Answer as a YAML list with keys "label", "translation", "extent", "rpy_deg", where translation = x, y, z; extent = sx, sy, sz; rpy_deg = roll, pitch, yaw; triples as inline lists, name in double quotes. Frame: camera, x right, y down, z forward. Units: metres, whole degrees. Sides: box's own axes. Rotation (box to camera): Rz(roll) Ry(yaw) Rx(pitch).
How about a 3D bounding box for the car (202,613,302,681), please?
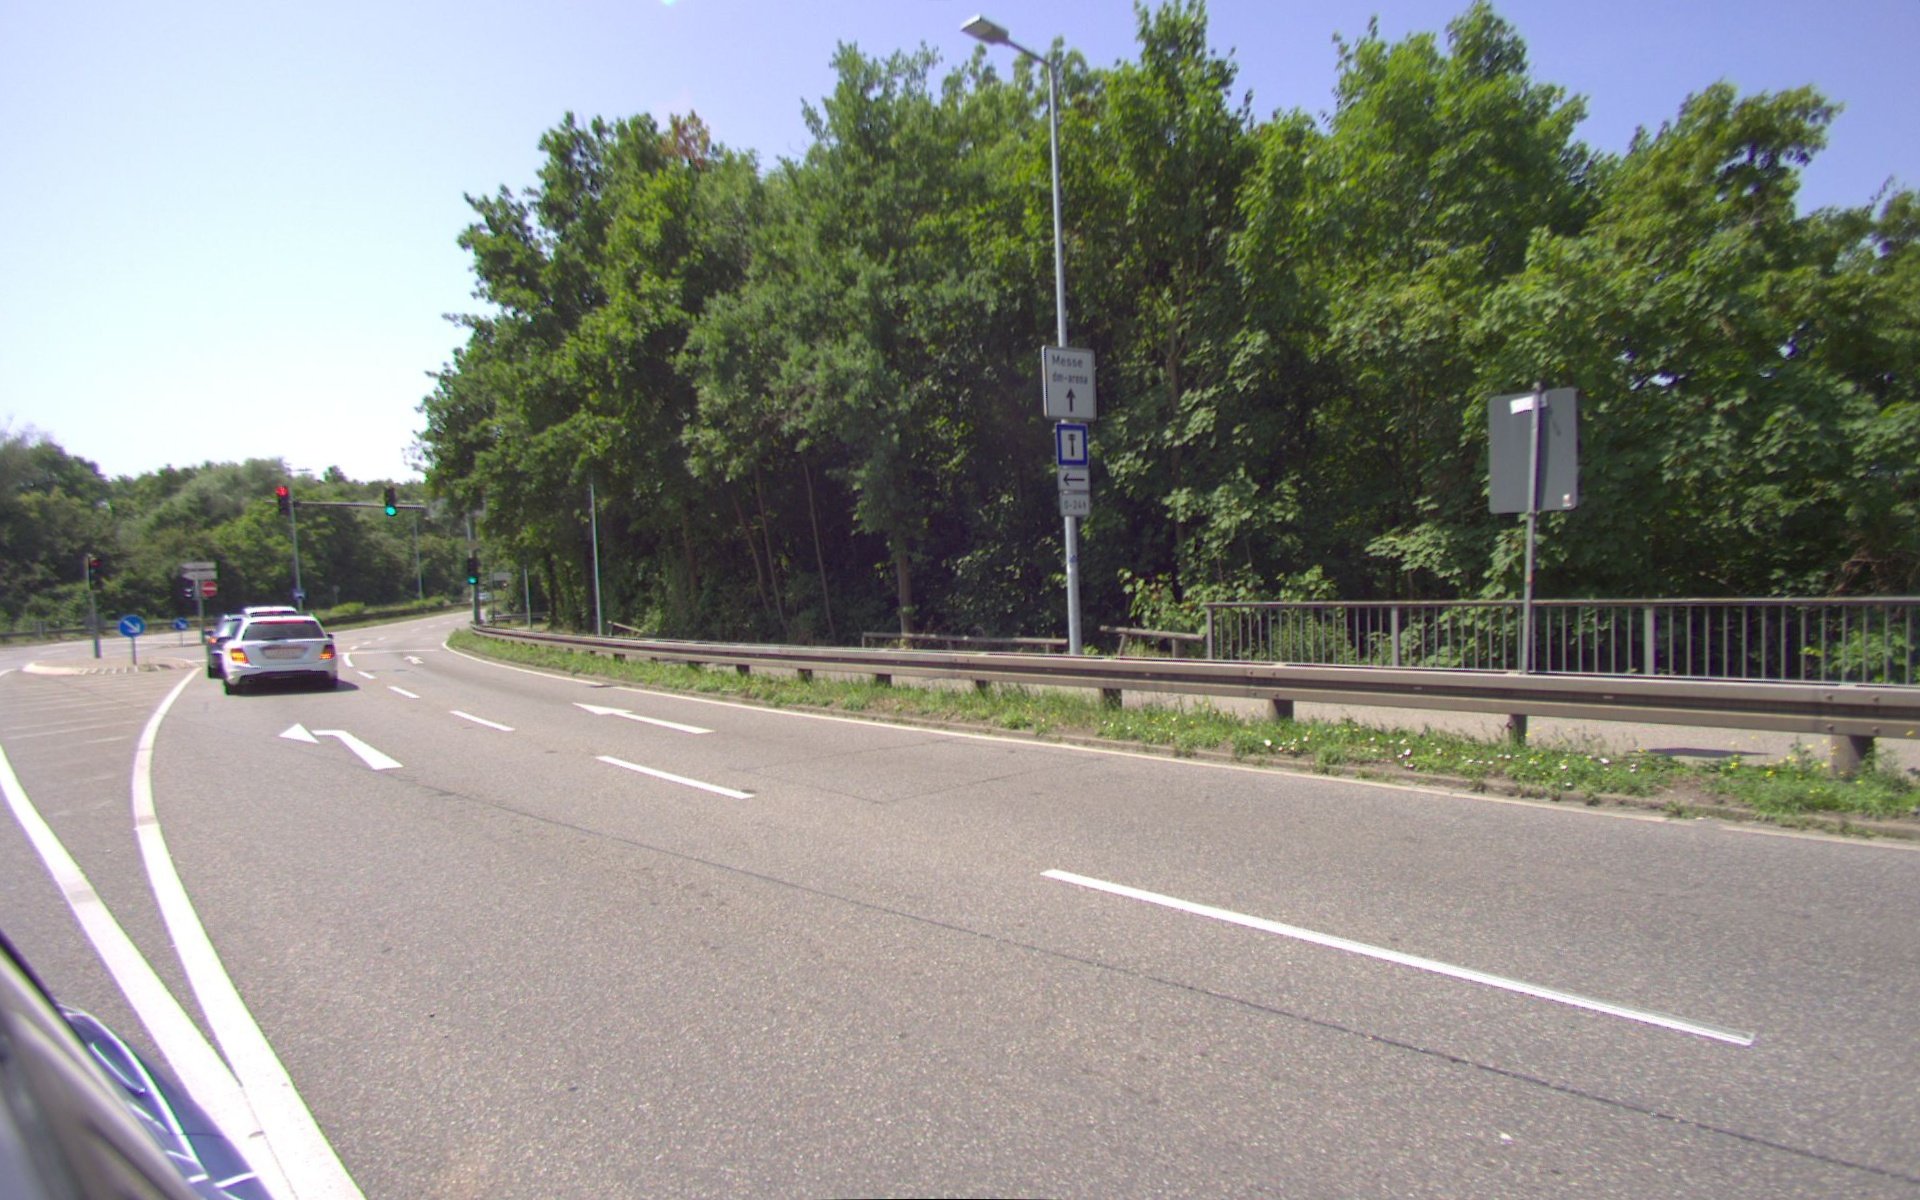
- label: "car"
  translation: [-17.267, 1.061, 24.660]
  extent: [1.804, 1.416, 4.557]
  rpy_deg: [-2, 1, -36]

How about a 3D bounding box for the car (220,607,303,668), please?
- label: "car"
  translation: [-21.296, 1.079, 30.797]
  extent: [1.804, 1.651, 4.588]
  rpy_deg: [-2, 0, -38]

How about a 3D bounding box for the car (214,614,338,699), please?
- label: "car"
  translation: [-13.444, 0.993, 19.805]
  extent: [1.803, 1.417, 4.899]
  rpy_deg: [-1, 0, -36]
